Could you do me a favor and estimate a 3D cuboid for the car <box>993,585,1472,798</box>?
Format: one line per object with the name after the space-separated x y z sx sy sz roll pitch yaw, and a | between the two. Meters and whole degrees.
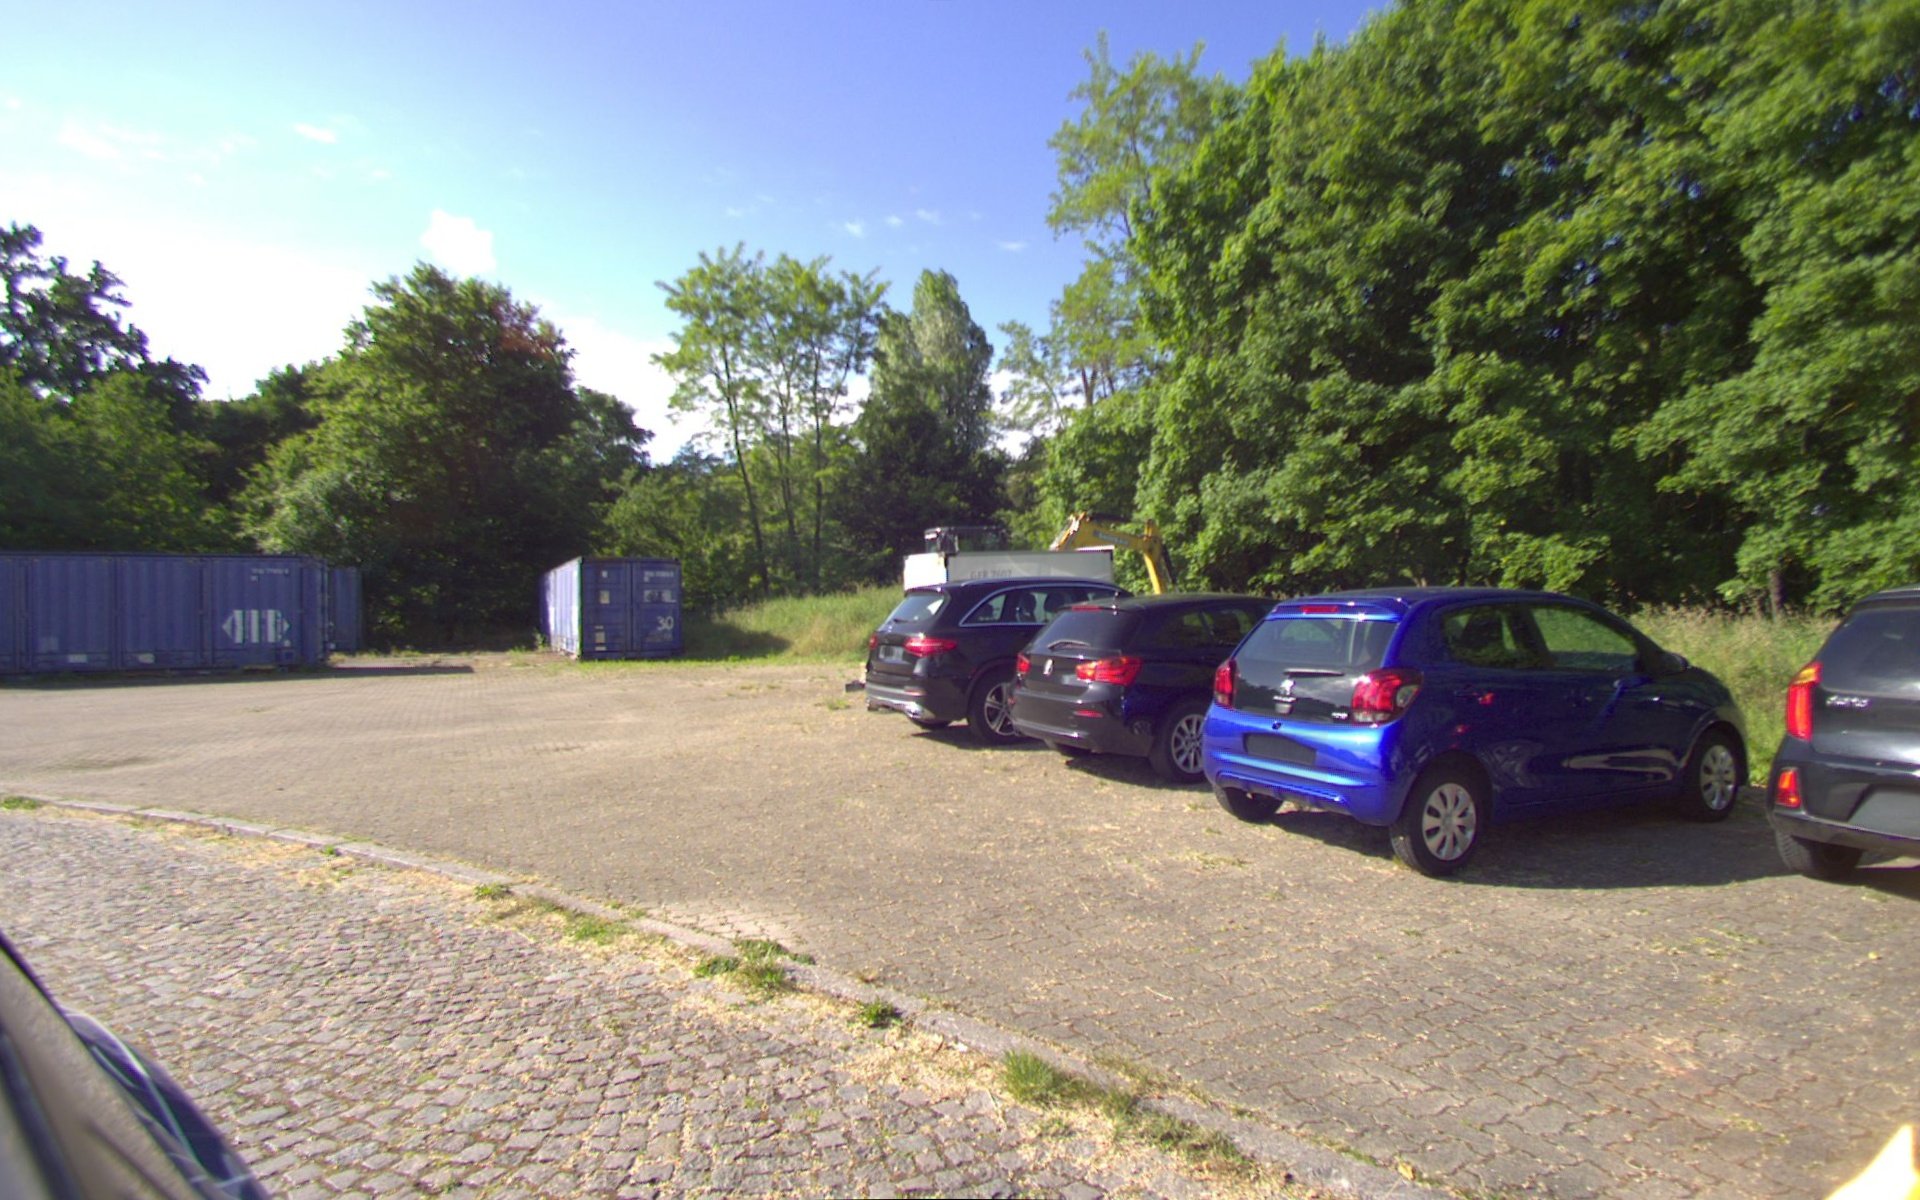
2.318 0.638 8.639 3.600 1.462 1.840 -1 -1 -26 | car

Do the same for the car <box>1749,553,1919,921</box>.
5.667 0.512 4.615 3.490 1.527 1.684 -2 1 -21 | car

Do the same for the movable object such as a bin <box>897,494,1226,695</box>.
1.691 -0.080 16.882 5.075 2.988 2.006 0 -1 -22 | movable object such as a bin

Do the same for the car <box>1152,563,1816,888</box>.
3.192 0.580 6.211 3.600 1.504 1.720 0 -1 -24 | car

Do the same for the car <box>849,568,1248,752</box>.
0.916 0.535 10.744 3.754 1.653 1.874 -1 -1 -24 | car

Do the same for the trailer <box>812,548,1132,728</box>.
0.172 0.424 13.584 3.904 2.109 1.644 -2 0 -26 | trailer
